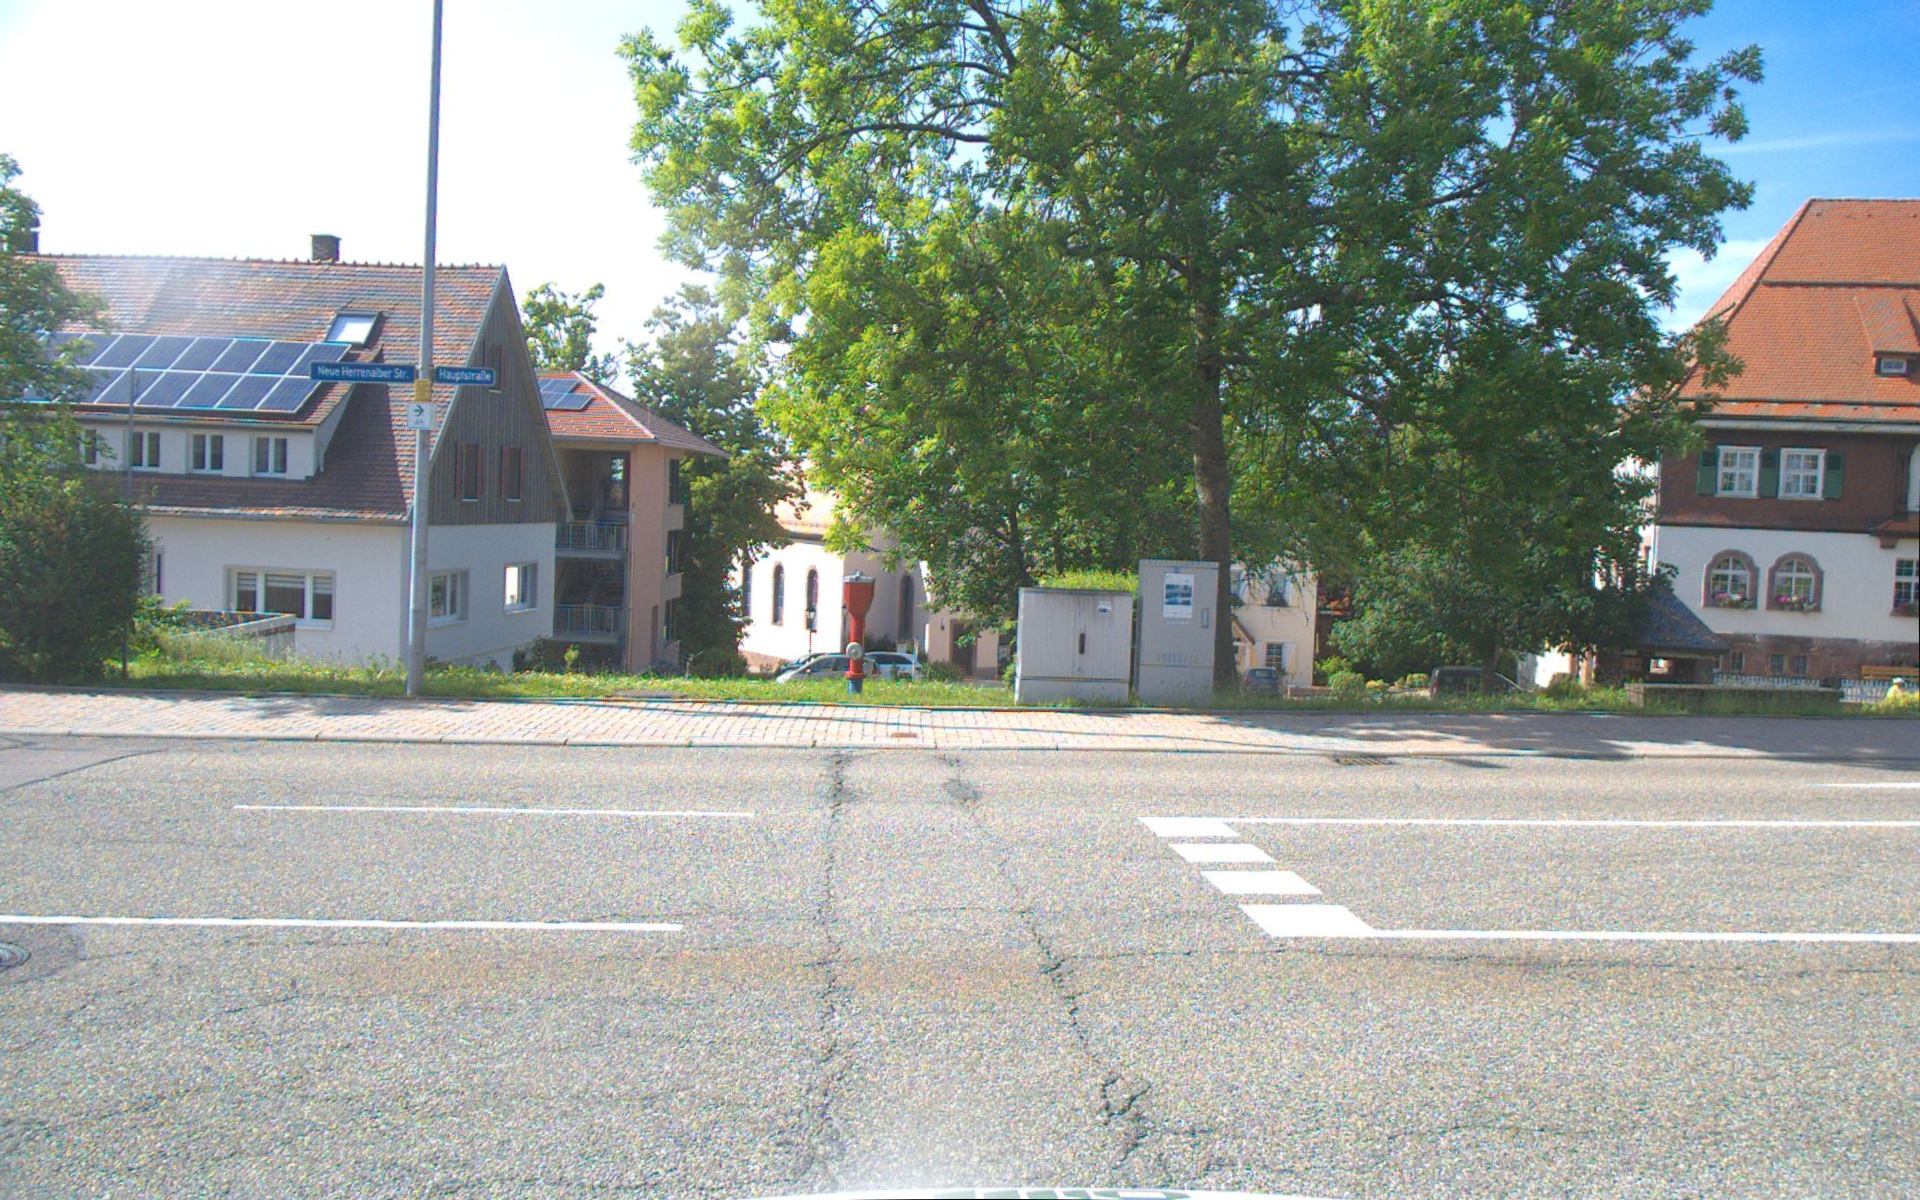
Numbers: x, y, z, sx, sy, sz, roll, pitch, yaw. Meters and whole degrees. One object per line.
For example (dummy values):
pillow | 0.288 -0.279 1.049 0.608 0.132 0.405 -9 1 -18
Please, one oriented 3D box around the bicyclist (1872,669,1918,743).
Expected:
bicyclist | 25.645 2.893 45.384 0.973 1.959 0.582 1 -1 14

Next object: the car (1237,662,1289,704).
car | 12.438 3.381 68.047 1.672 1.569 3.787 1 0 3

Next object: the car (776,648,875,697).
car | -5.175 2.775 63.343 3.700 1.789 1.711 1 -1 -7

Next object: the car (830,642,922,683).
car | -3.492 2.573 68.393 3.700 1.621 1.711 1 -1 -7

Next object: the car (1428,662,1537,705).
car | 19.445 3.096 61.701 3.692 1.470 1.715 1 -1 11

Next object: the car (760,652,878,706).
car | -4.906 2.732 57.523 4.011 1.789 1.711 1 -1 -6
